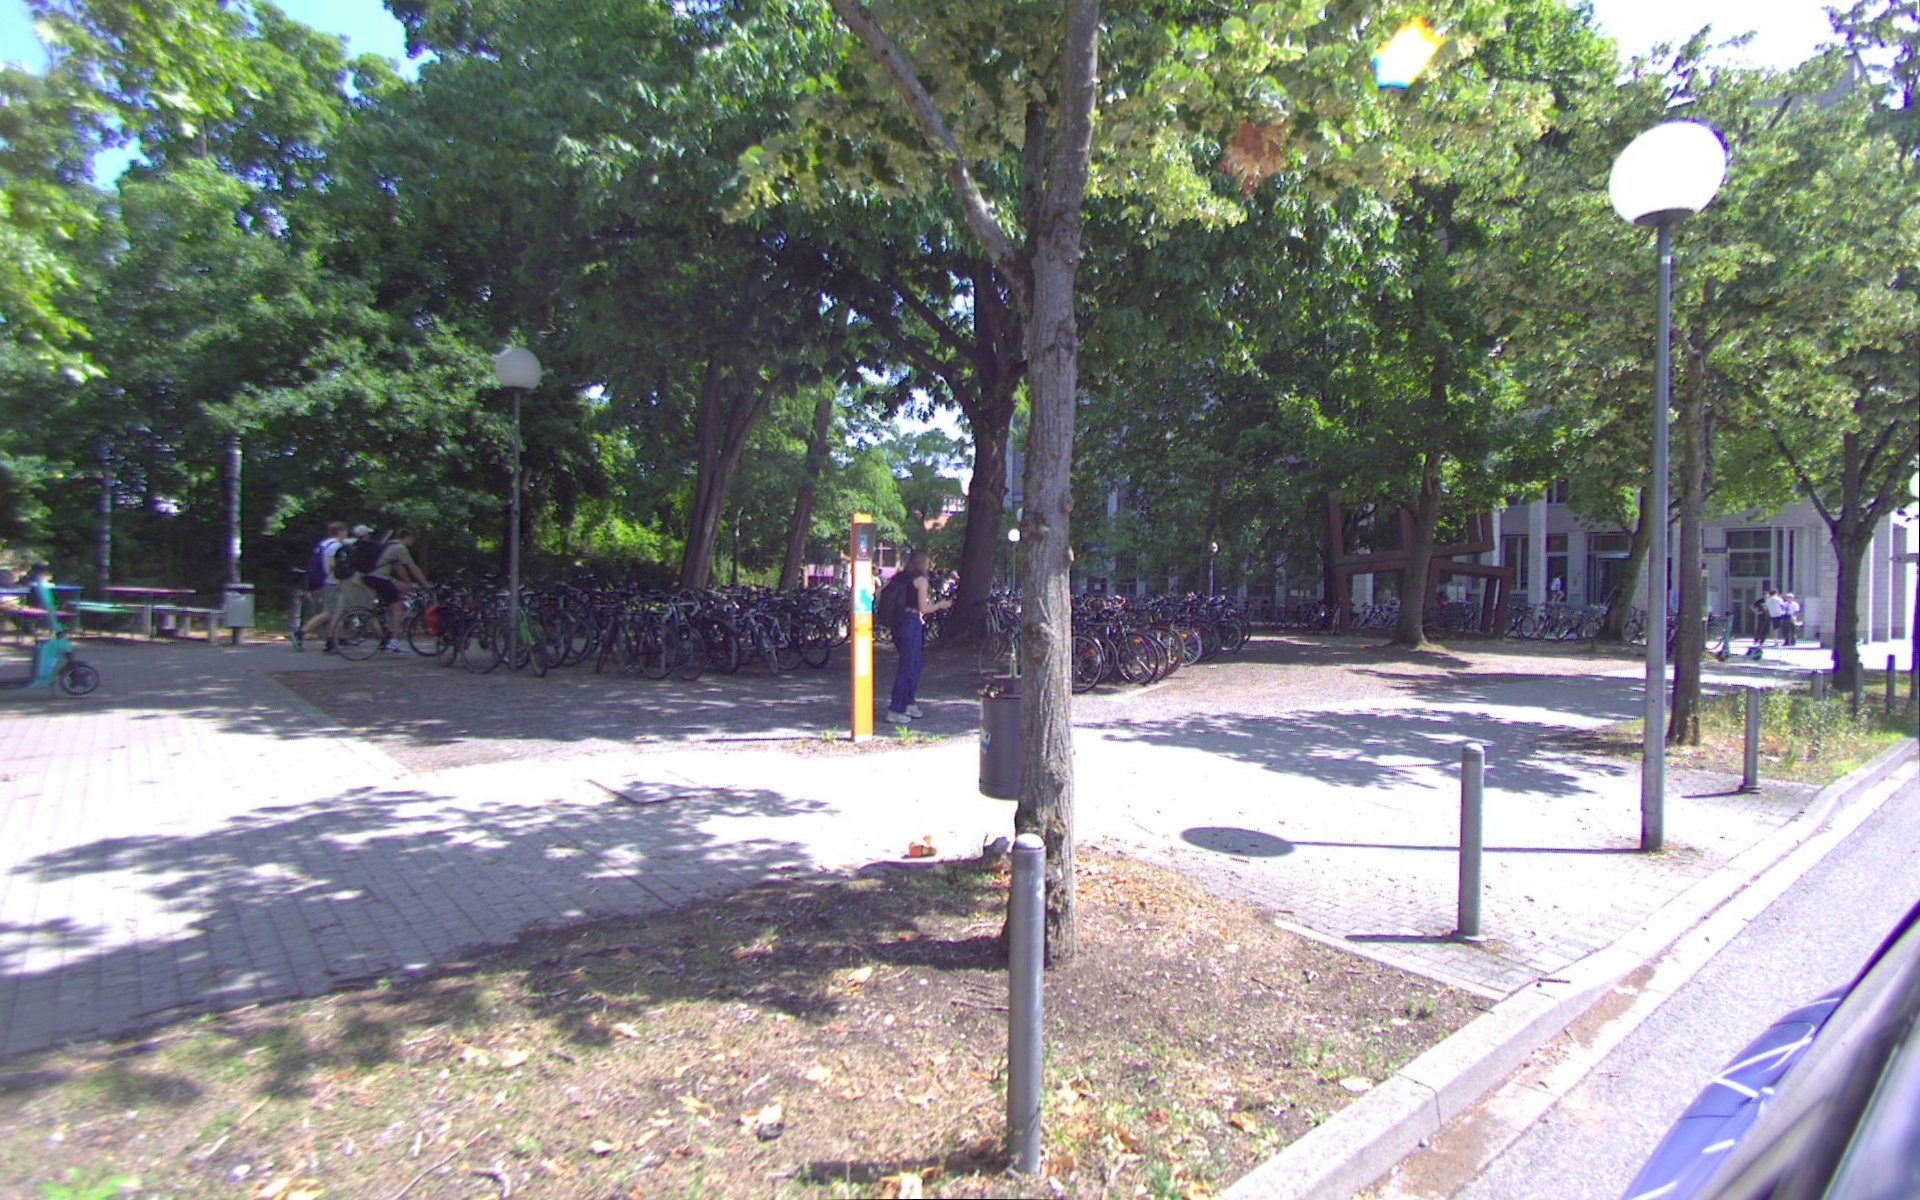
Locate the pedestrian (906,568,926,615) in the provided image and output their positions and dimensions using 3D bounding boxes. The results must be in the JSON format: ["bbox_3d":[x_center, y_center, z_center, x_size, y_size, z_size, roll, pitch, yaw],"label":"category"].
[{"bbox_3d":[-1.722,-0.326,39.816,0.730,1.797,0.721,2,0,-3],"label":"pedestrian"}]

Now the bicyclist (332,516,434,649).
[{"bbox_3d":[-7.913,-0.242,13.910,0.527,1.750,1.068,3,2,29],"label":"bicyclist"}]

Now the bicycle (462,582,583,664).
[{"bbox_3d":[-5.914,0.288,13.649,1.888,0.991,0.473,3,2,31],"label":"bicycle"}]

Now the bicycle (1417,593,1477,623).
[{"bbox_3d":[18.709,0.286,38.895,0.803,1.054,1.931,-4,3,-36],"label":"bicycle"}]

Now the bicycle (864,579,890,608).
[{"bbox_3d":[-2.945,-0.249,35.969,0.576,0.942,1.750,4,2,6],"label":"bicycle"}]

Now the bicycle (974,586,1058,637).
[{"bbox_3d":[1.312,0.259,23.608,1.875,1.096,0.477,2,1,14],"label":"bicycle"}]

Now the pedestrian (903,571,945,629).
[{"bbox_3d":[-1.156,-0.007,32.281,0.954,1.797,0.963,2,0,28],"label":"pedestrian"}]

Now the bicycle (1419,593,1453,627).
[{"bbox_3d":[16.421,0.358,34.910,0.625,1.165,1.671,-2,-3,40],"label":"bicycle"}]

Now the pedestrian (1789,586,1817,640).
[{"bbox_3d":[28.027,0.430,33.637,0.533,1.751,0.613,0,1,-39],"label":"pedestrian"}]

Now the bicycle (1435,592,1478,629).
[{"bbox_3d":[16.884,0.358,34.415,1.665,1.165,0.627,3,1,-40],"label":"bicycle"}]

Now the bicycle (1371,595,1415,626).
[{"bbox_3d":[15.390,0.382,35.964,1.663,1.061,0.618,1,-2,-33],"label":"bicycle"}]

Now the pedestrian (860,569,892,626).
[{"bbox_3d":[-2.677,-0.074,32.435,0.737,1.797,0.715,2,0,24],"label":"pedestrian"}]

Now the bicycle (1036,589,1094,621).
[{"bbox_3d":[3.506,0.156,33.778,1.871,0.991,0.478,2,1,6],"label":"bicycle"}]

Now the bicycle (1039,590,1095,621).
[{"bbox_3d":[3.698,0.182,35.055,1.868,0.991,0.479,2,1,0],"label":"bicycle"}]

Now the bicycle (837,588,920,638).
[{"bbox_3d":[-1.803,0.277,22.167,1.863,0.991,0.304,2,1,23],"label":"bicycle"}]

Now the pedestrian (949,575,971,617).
[{"bbox_3d":[-0.005,-0.169,44.244,0.838,1.797,0.813,2,0,-5],"label":"pedestrian"}]

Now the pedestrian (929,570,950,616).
[{"bbox_3d":[-0.817,-0.271,39.853,0.730,1.797,0.721,2,0,-3],"label":"pedestrian"}]

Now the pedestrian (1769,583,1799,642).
[{"bbox_3d":[27.131,0.393,33.308,0.675,1.914,0.685,-1,1,-44],"label":"pedestrian"}]

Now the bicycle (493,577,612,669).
[{"bbox_3d":[-5.676,0.285,14.045,1.888,1.157,0.473,3,2,31],"label":"bicycle"}]

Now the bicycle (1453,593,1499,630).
[{"bbox_3d":[17.219,0.380,33.761,1.664,1.139,0.628,3,1,-36],"label":"bicycle"}]

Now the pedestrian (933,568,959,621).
[{"bbox_3d":[-0.486,-0.199,35.523,0.732,1.797,0.719,2,0,9],"label":"pedestrian"}]

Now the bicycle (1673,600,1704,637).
[{"bbox_3d":[25.857,0.640,35.908,1.798,1.257,0.531,-1,2,-42],"label":"bicycle"}]

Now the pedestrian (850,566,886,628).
[{"bbox_3d":[-2.732,-0.096,30.022,0.742,1.797,0.710,2,0,41],"label":"pedestrian"}]

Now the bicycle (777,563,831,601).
[{"bbox_3d":[-4.851,-0.557,31.434,1.586,1.107,0.477,2,1,12],"label":"bicycle"}]

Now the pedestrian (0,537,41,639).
[{"bbox_3d":[-15.369,-0.209,16.352,0.667,1.601,0.707,5,3,45],"label":"pedestrian"}]

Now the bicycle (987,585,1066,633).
[{"bbox_3d":[1.639,0.205,24.930,1.875,1.096,0.477,2,1,14],"label":"bicycle"}]

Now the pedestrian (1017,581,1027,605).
[{"bbox_3d":[3.275,-0.379,53.491,0.379,1.228,0.403,2,0,-33],"label":"pedestrian"}]

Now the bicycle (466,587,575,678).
[{"bbox_3d":[-5.467,0.364,12.527,1.897,0.991,0.471,3,2,42],"label":"bicycle"}]

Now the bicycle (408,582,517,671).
[{"bbox_3d":[-6.272,0.306,12.708,1.895,0.991,0.472,3,2,39],"label":"bicycle"}]

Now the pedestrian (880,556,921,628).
[{"bbox_3d":[-1.513,-0.200,25.689,0.706,1.797,0.745,2,0,-32],"label":"pedestrian"}]

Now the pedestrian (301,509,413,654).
[{"bbox_3d":[-8.613,-0.275,14.475,0.828,1.973,1.068,3,2,29],"label":"pedestrian"}]

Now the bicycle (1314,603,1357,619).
[{"bbox_3d":[19.452,0.567,52.483,0.633,0.769,1.986,2,1,-43],"label":"bicycle"}]

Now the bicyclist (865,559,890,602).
[{"bbox_3d":[-2.924,-0.694,35.957,0.732,1.465,0.802,2,0,6],"label":"bicyclist"}]

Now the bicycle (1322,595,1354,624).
[{"bbox_3d":[13.976,0.359,37.429,0.499,1.061,1.661,-2,-3,44],"label":"bicycle"}]

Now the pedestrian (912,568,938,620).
[{"bbox_3d":[-1.237,-0.223,35.681,0.732,1.797,0.719,2,0,9],"label":"pedestrian"}]

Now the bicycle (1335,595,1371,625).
[{"bbox_3d":[14.382,0.367,37.013,0.615,1.061,1.661,-2,-3,44],"label":"bicycle"}]

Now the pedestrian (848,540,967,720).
[{"bbox_3d":[-0.488,0.260,9.448,0.911,1.591,0.569,1,1,-40],"label":"pedestrian"}]

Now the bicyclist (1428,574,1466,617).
[{"bbox_3d":[18.712,-0.184,38.903,0.822,1.562,0.959,4,0,-36],"label":"bicyclist"}]

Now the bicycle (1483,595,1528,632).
[{"bbox_3d":[17.949,0.440,33.289,1.664,1.139,0.566,3,1,-36],"label":"bicycle"}]

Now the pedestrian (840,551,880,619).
[{"bbox_3d":[-2.690,-0.406,27.317,0.742,1.797,0.710,2,0,41],"label":"pedestrian"}]

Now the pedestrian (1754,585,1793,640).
[{"bbox_3d":[27.540,0.411,34.273,0.796,1.819,0.619,1,1,6],"label":"pedestrian"}]

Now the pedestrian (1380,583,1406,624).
[{"bbox_3d":[18.833,0.131,44.002,0.930,1.762,0.741,1,0,30],"label":"pedestrian"}]

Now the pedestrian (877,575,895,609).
[{"bbox_3d":[-3.464,-0.394,47.325,0.679,1.530,0.514,4,2,6],"label":"pedestrian"}]

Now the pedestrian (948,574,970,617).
[{"bbox_3d":[-0.044,-0.210,42.987,0.729,1.797,0.722,2,0,-15],"label":"pedestrian"}]

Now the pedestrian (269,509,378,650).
[{"bbox_3d":[-9.374,-0.311,14.919,0.828,1.973,1.068,3,2,29],"label":"pedestrian"}]

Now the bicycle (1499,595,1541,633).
[{"bbox_3d":[18.156,0.458,32.799,1.664,1.139,0.482,3,1,-36],"label":"bicycle"}]

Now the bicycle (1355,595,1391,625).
[{"bbox_3d":[14.905,0.369,36.518,0.615,1.061,1.661,-2,-3,44],"label":"bicycle"}]

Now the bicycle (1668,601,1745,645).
[{"bbox_3d":[20.890,0.645,28.332,1.749,1.155,0.607,1,2,-8],"label":"bicycle"}]

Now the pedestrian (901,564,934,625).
[{"bbox_3d":[-1.283,-0.175,30.460,0.735,1.797,0.716,2,0,18],"label":"pedestrian"}]

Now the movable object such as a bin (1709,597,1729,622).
[{"bbox_3d":[30.750,0.393,40.984,0.503,0.961,0.513,2,3,-43],"label":"movable object such as a bin"}]
